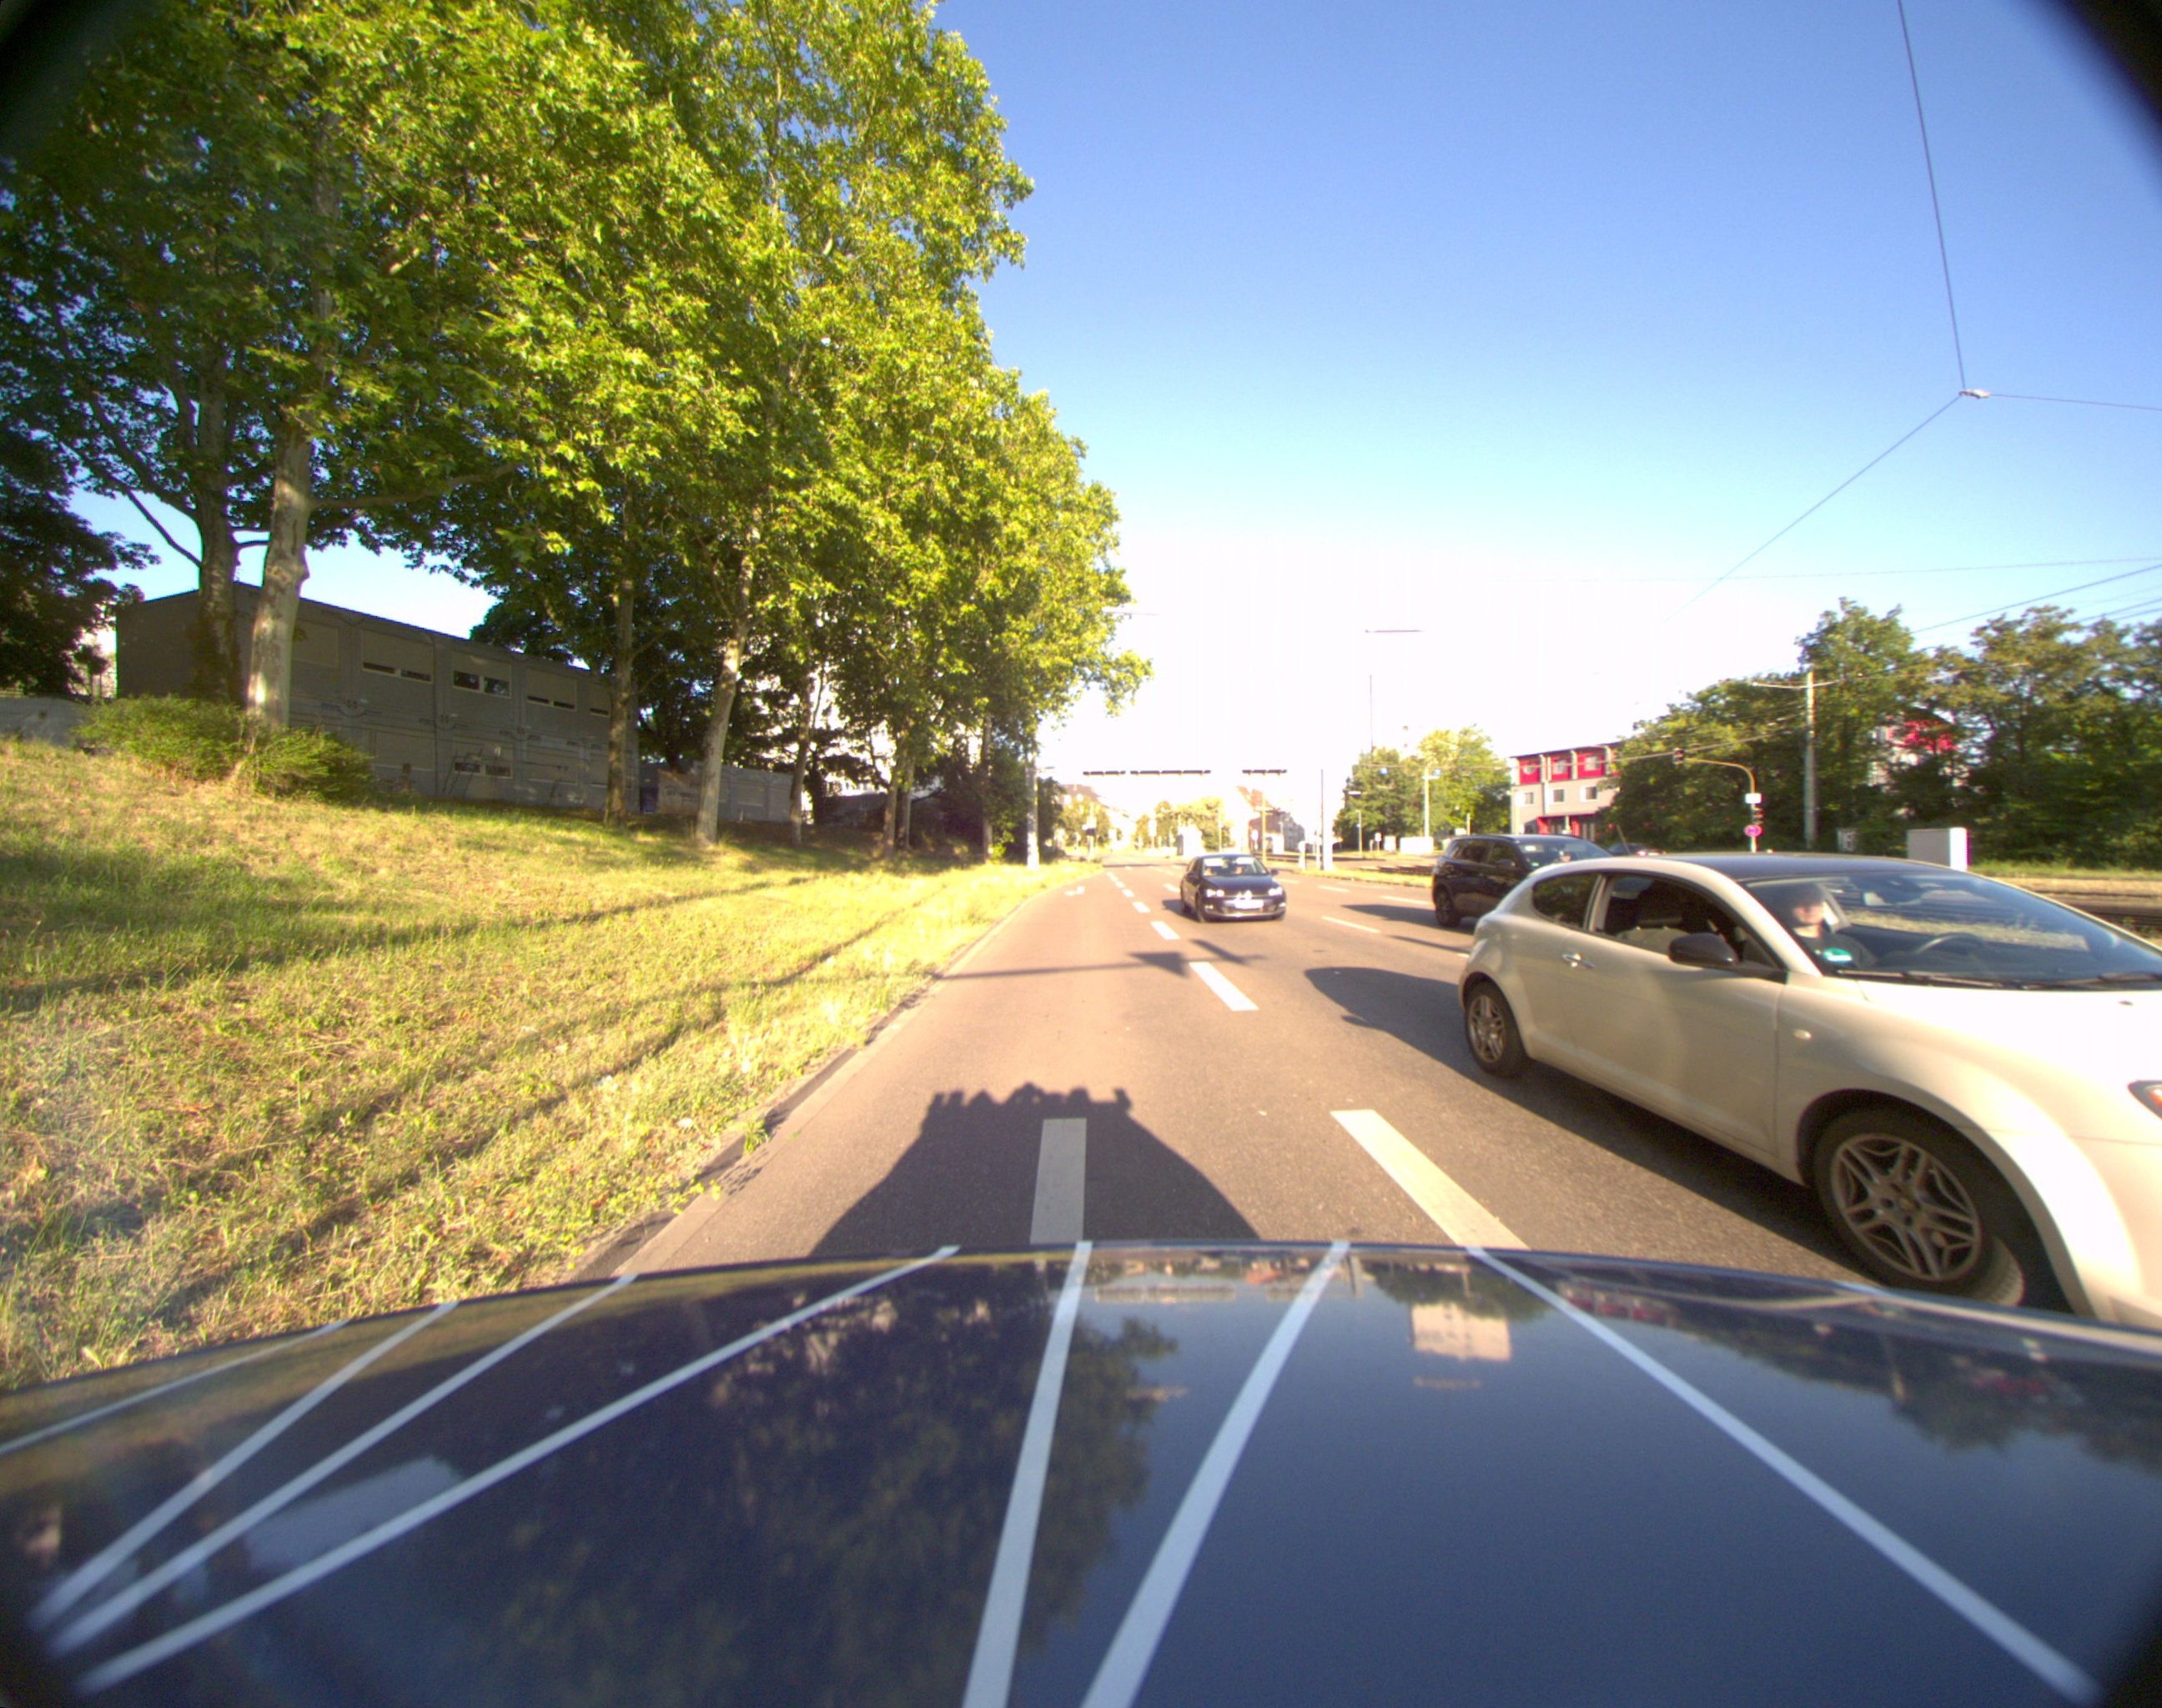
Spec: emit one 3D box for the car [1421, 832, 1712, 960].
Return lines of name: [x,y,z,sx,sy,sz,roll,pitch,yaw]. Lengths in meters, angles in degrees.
car: [7.341,0.545,12.117,1.905,1.652,4.276,-1,0,0]

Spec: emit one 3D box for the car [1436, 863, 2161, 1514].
car: [3.446,0.826,3.469,1.741,1.496,3.999,-1,0,-1]

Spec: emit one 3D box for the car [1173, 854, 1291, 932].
car: [3.177,0.758,16.788,1.741,1.429,3.999,-2,1,-1]

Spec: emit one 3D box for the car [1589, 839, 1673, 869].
car: [33.260,-0.011,46.161,1.752,1.669,4.756,-2,0,2]
